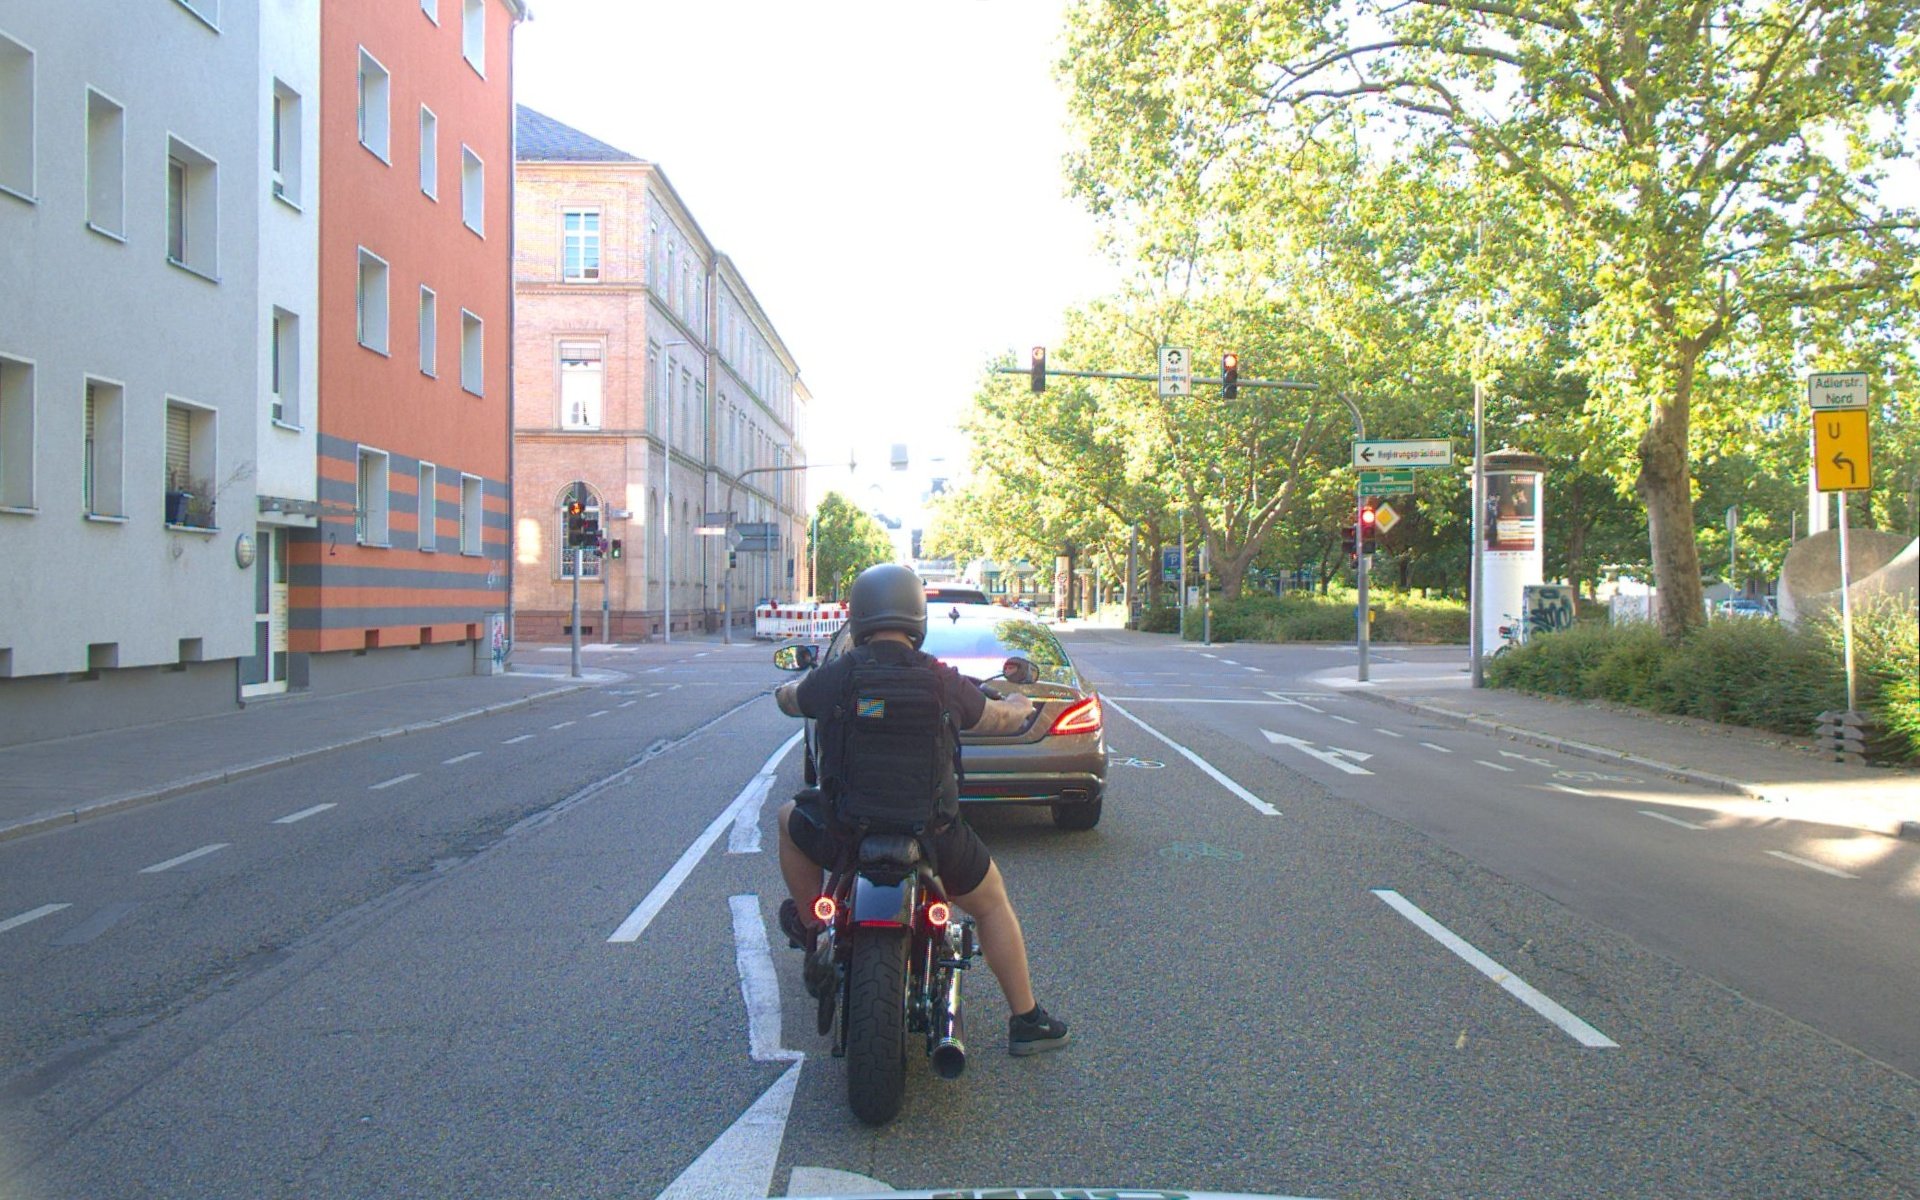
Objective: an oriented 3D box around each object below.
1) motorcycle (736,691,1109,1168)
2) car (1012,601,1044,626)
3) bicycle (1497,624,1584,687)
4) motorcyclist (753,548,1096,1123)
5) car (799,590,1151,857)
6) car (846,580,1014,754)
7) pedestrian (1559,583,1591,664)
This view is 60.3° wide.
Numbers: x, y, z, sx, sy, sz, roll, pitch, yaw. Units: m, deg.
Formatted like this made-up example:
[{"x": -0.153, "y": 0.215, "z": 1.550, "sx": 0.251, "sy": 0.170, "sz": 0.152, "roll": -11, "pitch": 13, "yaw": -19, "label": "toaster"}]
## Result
[{"x": -0.114, "y": 0.927, "z": 5.546, "sx": 0.969, "sy": 1.097, "sz": 2.451, "roll": 0, "pitch": 0, "yaw": -1, "label": "motorcycle"}, {"x": 4.182, "y": 0.832, "z": 102.672, "sx": 1.784, "sy": 1.506, "sz": 3.908, "roll": -1, "pitch": 0, "yaw": 0, "label": "car"}, {"x": 9.751, "y": 0.923, "z": 27.789, "sx": 1.324, "sy": 1.041, "sz": 0.363, "roll": 0, "pitch": 0, "yaw": 0, "label": "bicycle"}, {"x": -0.110, "y": 0.664, "z": 5.392, "sx": 0.969, "sy": 1.625, "sz": 1.403, "roll": 0, "pitch": 0, "yaw": -1, "label": "motorcyclist"}, {"x": -0.110, "y": 0.685, "z": 11.586, "sx": 1.909, "sy": 1.498, "sz": 4.355, "roll": 0, "pitch": 0, "yaw": -7, "label": "car"}, {"x": -0.333, "y": 0.620, "z": 17.749, "sx": 1.580, "sy": 1.636, "sz": 4.327, "roll": 0, "pitch": 0, "yaw": -2, "label": "car"}, {"x": 14.467, "y": 0.540, "z": 38.903, "sx": 0.540, "sy": 1.881, "sz": 0.593, "roll": 0, "pitch": 0, "yaw": 0, "label": "pedestrian"}]
